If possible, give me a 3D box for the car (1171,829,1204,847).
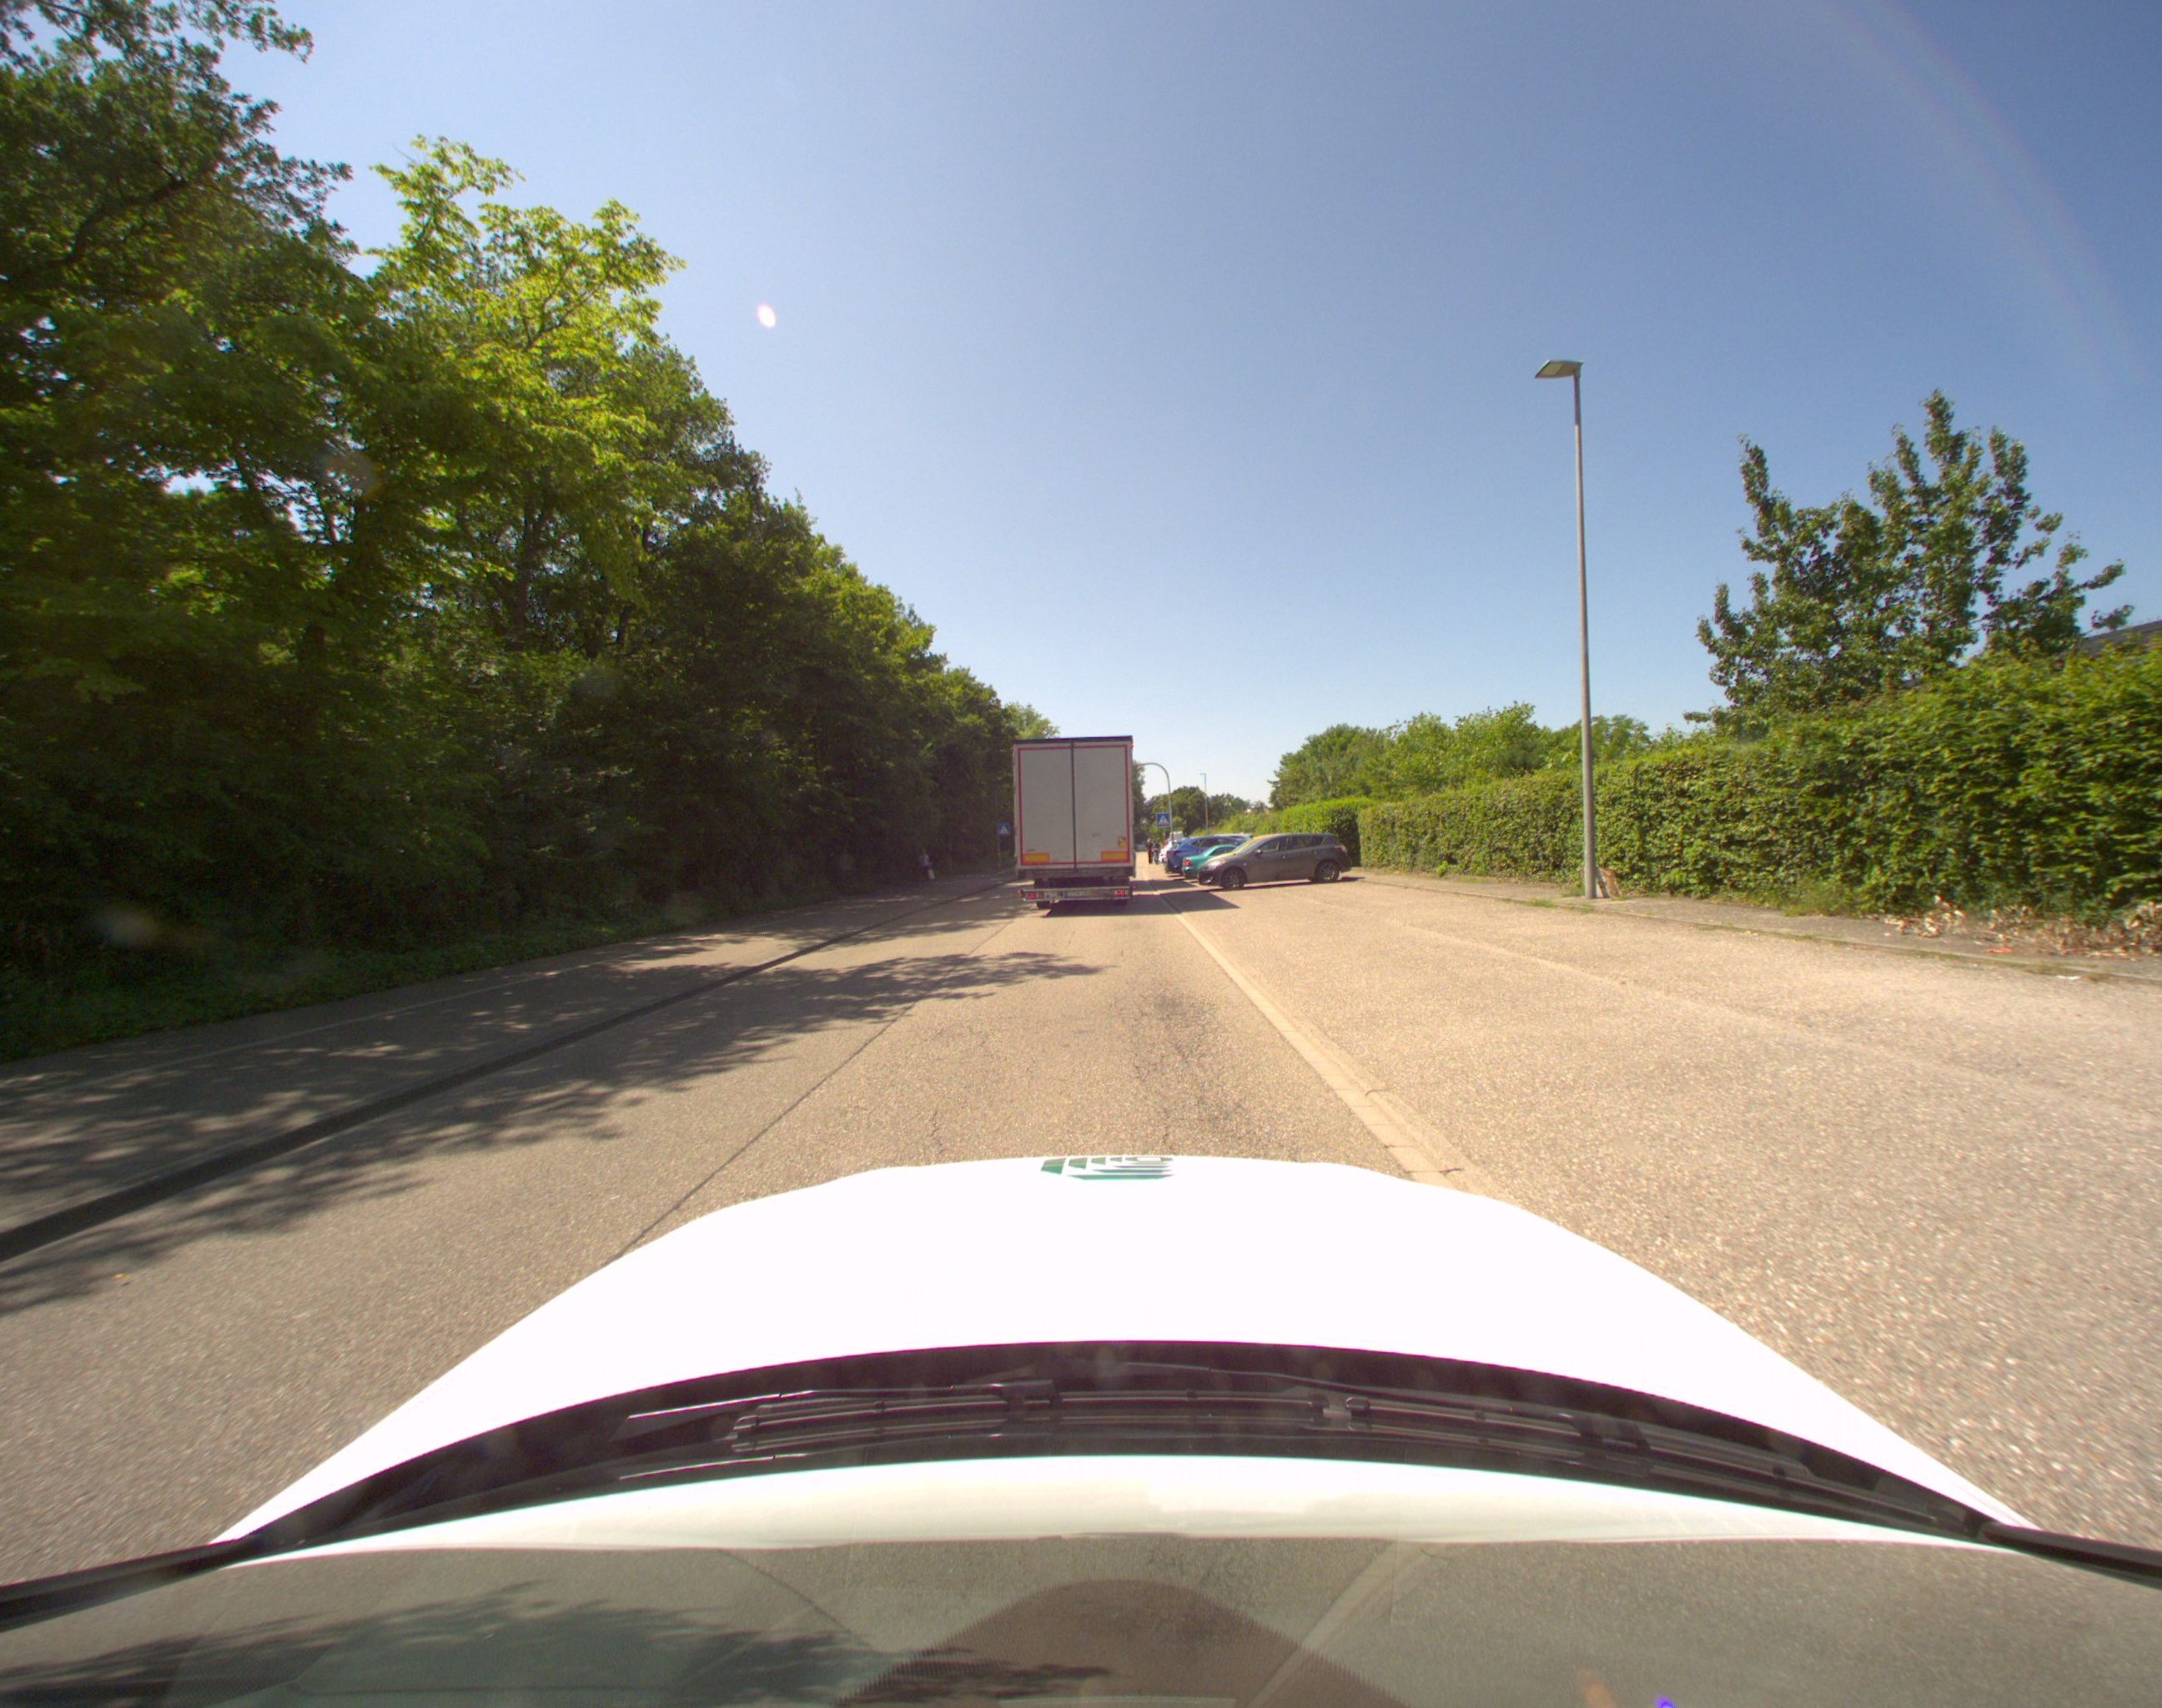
[{"bbox_3d":[13.496,-2.069,103.246,3.937,1.798,1.816,-6,-2,5],"label":"car"}]

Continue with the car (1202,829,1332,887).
[{"bbox_3d":[6.013,0.132,26.682,3.788,1.455,1.775,-6,0,1],"label":"car"}]

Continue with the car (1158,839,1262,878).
[{"bbox_3d":[5.599,0.189,35.587,4.122,1.439,1.812,-3,1,-4],"label":"car"}]

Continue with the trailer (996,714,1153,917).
[{"bbox_3d":[0.046,-0.872,22.853,3.101,4.102,11.542,-3,0,2],"label":"trailer"}]

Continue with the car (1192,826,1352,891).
[{"bbox_3d":[5.449,0.122,23.603,4.149,1.495,1.883,-4,0,1],"label":"car"}]

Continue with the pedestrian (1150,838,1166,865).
[{"bbox_3d":[5.457,-0.155,57.682,0.902,1.798,0.937,-6,0,8],"label":"pedestrian"}]

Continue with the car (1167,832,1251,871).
[{"bbox_3d":[6.650,-0.137,42.658,4.108,1.657,1.888,-4,0,3],"label":"car"}]

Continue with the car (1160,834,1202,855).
[{"bbox_3d":[10.140,-0.922,82.704,3.944,1.765,1.813,-5,1,-1],"label":"car"}]

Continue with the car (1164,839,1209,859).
[{"bbox_3d":[9.910,-0.486,76.679,3.944,1.618,1.813,-5,1,-1],"label":"car"}]

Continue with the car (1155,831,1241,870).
[{"bbox_3d":[6.446,-0.210,45.210,4.390,1.698,1.877,-6,0,0],"label":"car"}]

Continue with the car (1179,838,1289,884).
[{"bbox_3d":[5.531,0.242,29.780,3.719,1.268,1.629,-6,0,3],"label":"car"}]

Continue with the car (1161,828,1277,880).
[{"bbox_3d":[5.444,0.005,32.543,4.223,1.633,1.823,-5,0,1],"label":"car"}]

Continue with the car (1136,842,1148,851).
[{"bbox_3d":[10.944,-1.333,147.261,1.775,1.486,3.999,-3,1,0],"label":"car"}]

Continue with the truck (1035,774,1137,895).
[{"bbox_3d":[0.281,-0.658,29.284,3.102,3.725,6.417,-3,0,2],"label":"truck"}]

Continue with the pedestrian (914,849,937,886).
[{"bbox_3d":[-7.021,0.619,36.859,0.825,1.622,0.783,-2,1,0],"label":"pedestrian"}]

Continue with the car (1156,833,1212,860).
[{"bbox_3d":[8.102,-0.624,64.110,3.949,1.668,1.811,-6,3,-5],"label":"car"}]

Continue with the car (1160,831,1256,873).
[{"bbox_3d":[5.968,-0.089,38.590,4.221,1.654,1.900,-4,-1,1],"label":"car"}]

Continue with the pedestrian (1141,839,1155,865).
[{"bbox_3d":[5.025,-0.163,60.721,0.817,1.834,0.794,-6,0,8],"label":"pedestrian"}]
